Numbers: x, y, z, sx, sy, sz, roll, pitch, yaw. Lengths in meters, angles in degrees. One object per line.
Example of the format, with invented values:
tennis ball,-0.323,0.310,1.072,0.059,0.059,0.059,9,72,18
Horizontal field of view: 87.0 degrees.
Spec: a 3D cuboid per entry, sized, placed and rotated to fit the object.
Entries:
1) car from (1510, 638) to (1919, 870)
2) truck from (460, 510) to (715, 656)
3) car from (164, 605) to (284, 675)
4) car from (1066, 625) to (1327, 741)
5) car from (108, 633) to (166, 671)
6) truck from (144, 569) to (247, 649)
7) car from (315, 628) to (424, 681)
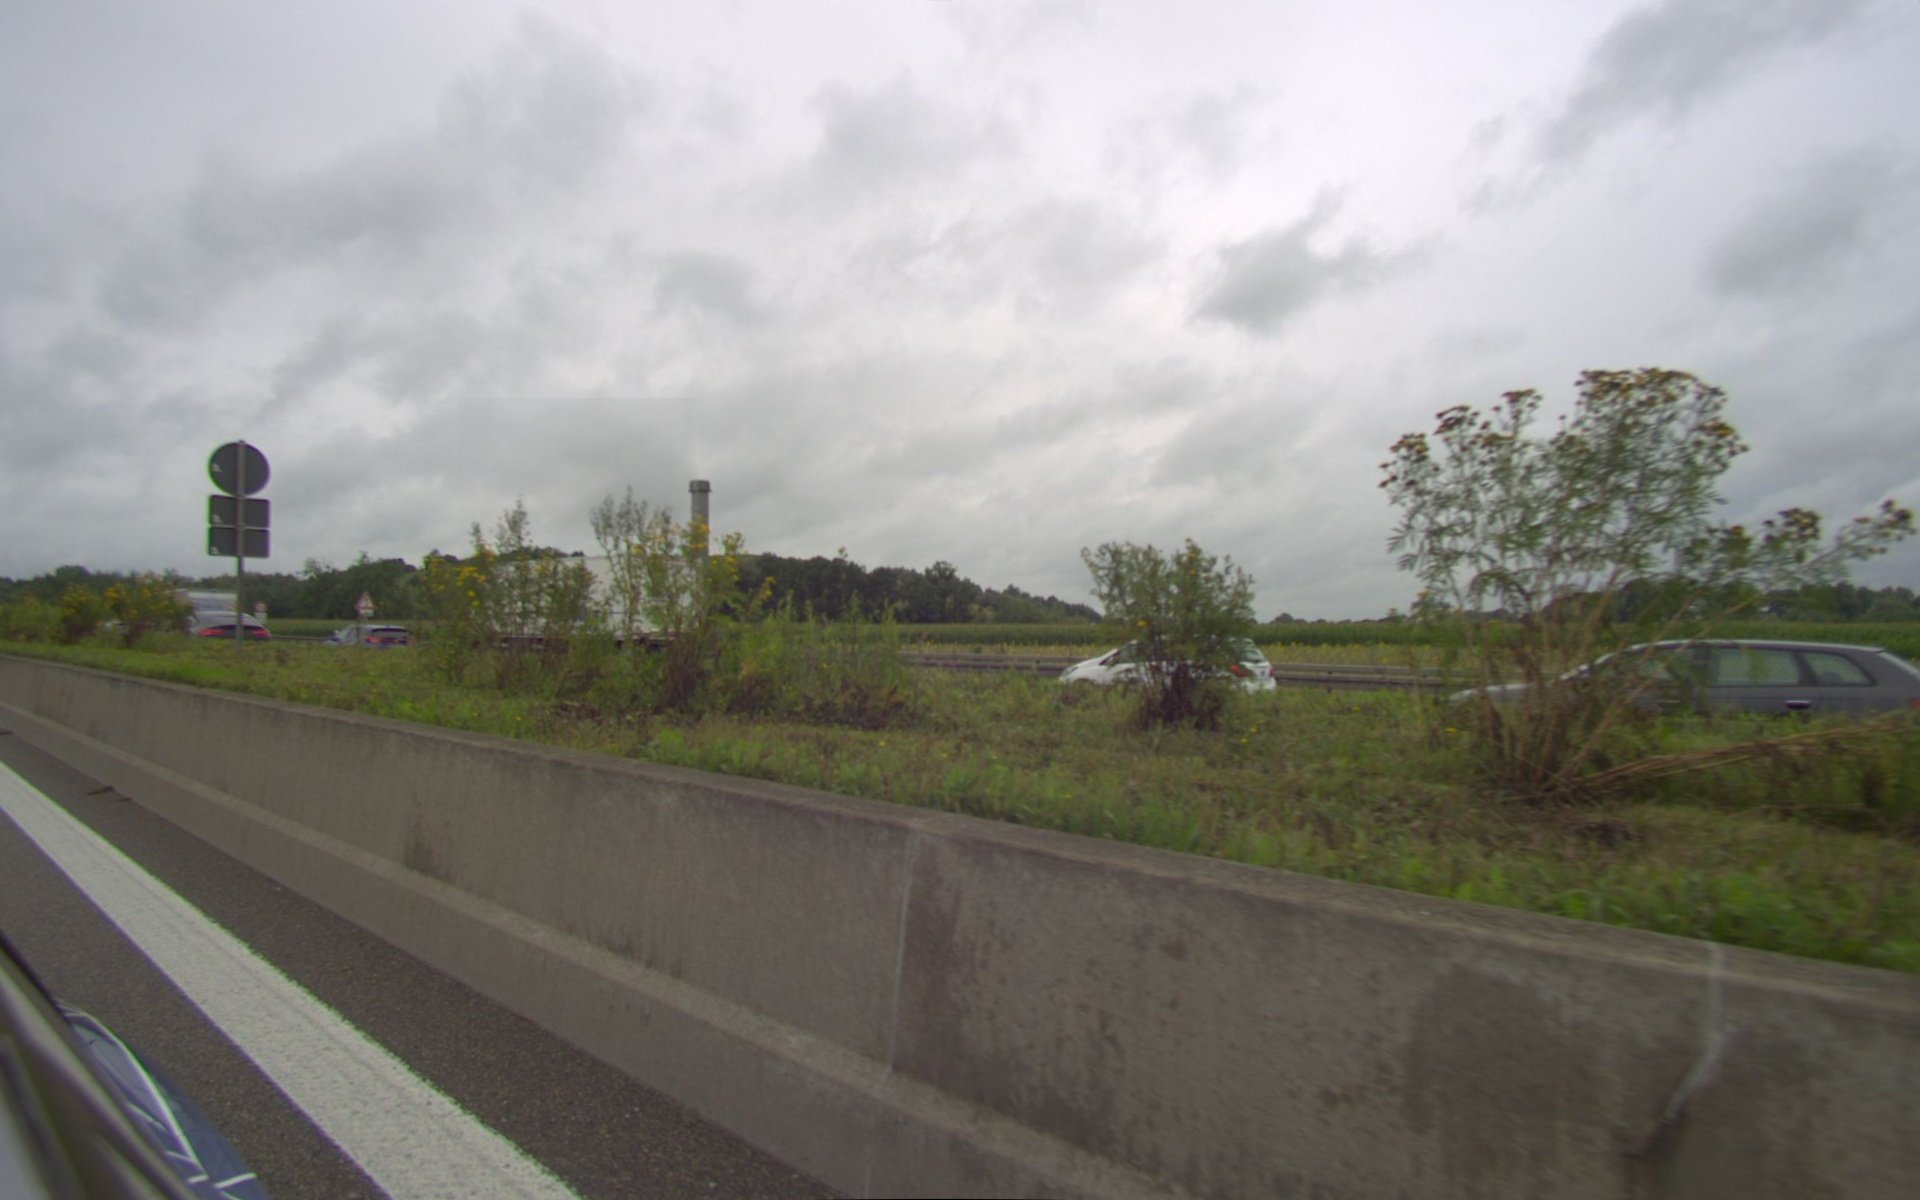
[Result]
car,7.339,1.240,9.007,3.998,1.665,1.797,-1,0,41
truck,-12.338,-0.436,32.625,10.810,3.997,3.149,-1,0,43
car,-22.969,1.220,31.504,4.833,2.029,1.973,-1,-2,41
car,4.054,1.326,17.673,3.998,1.696,1.973,-1,0,41
car,-44.317,2.755,54.465,4.093,1.919,1.735,-1,-1,41
truck,-47.797,0.542,63.127,9.669,4.684,3.192,-1,0,41
car,-19.000,1.701,32.509,3.998,1.608,1.848,-1,-2,41
